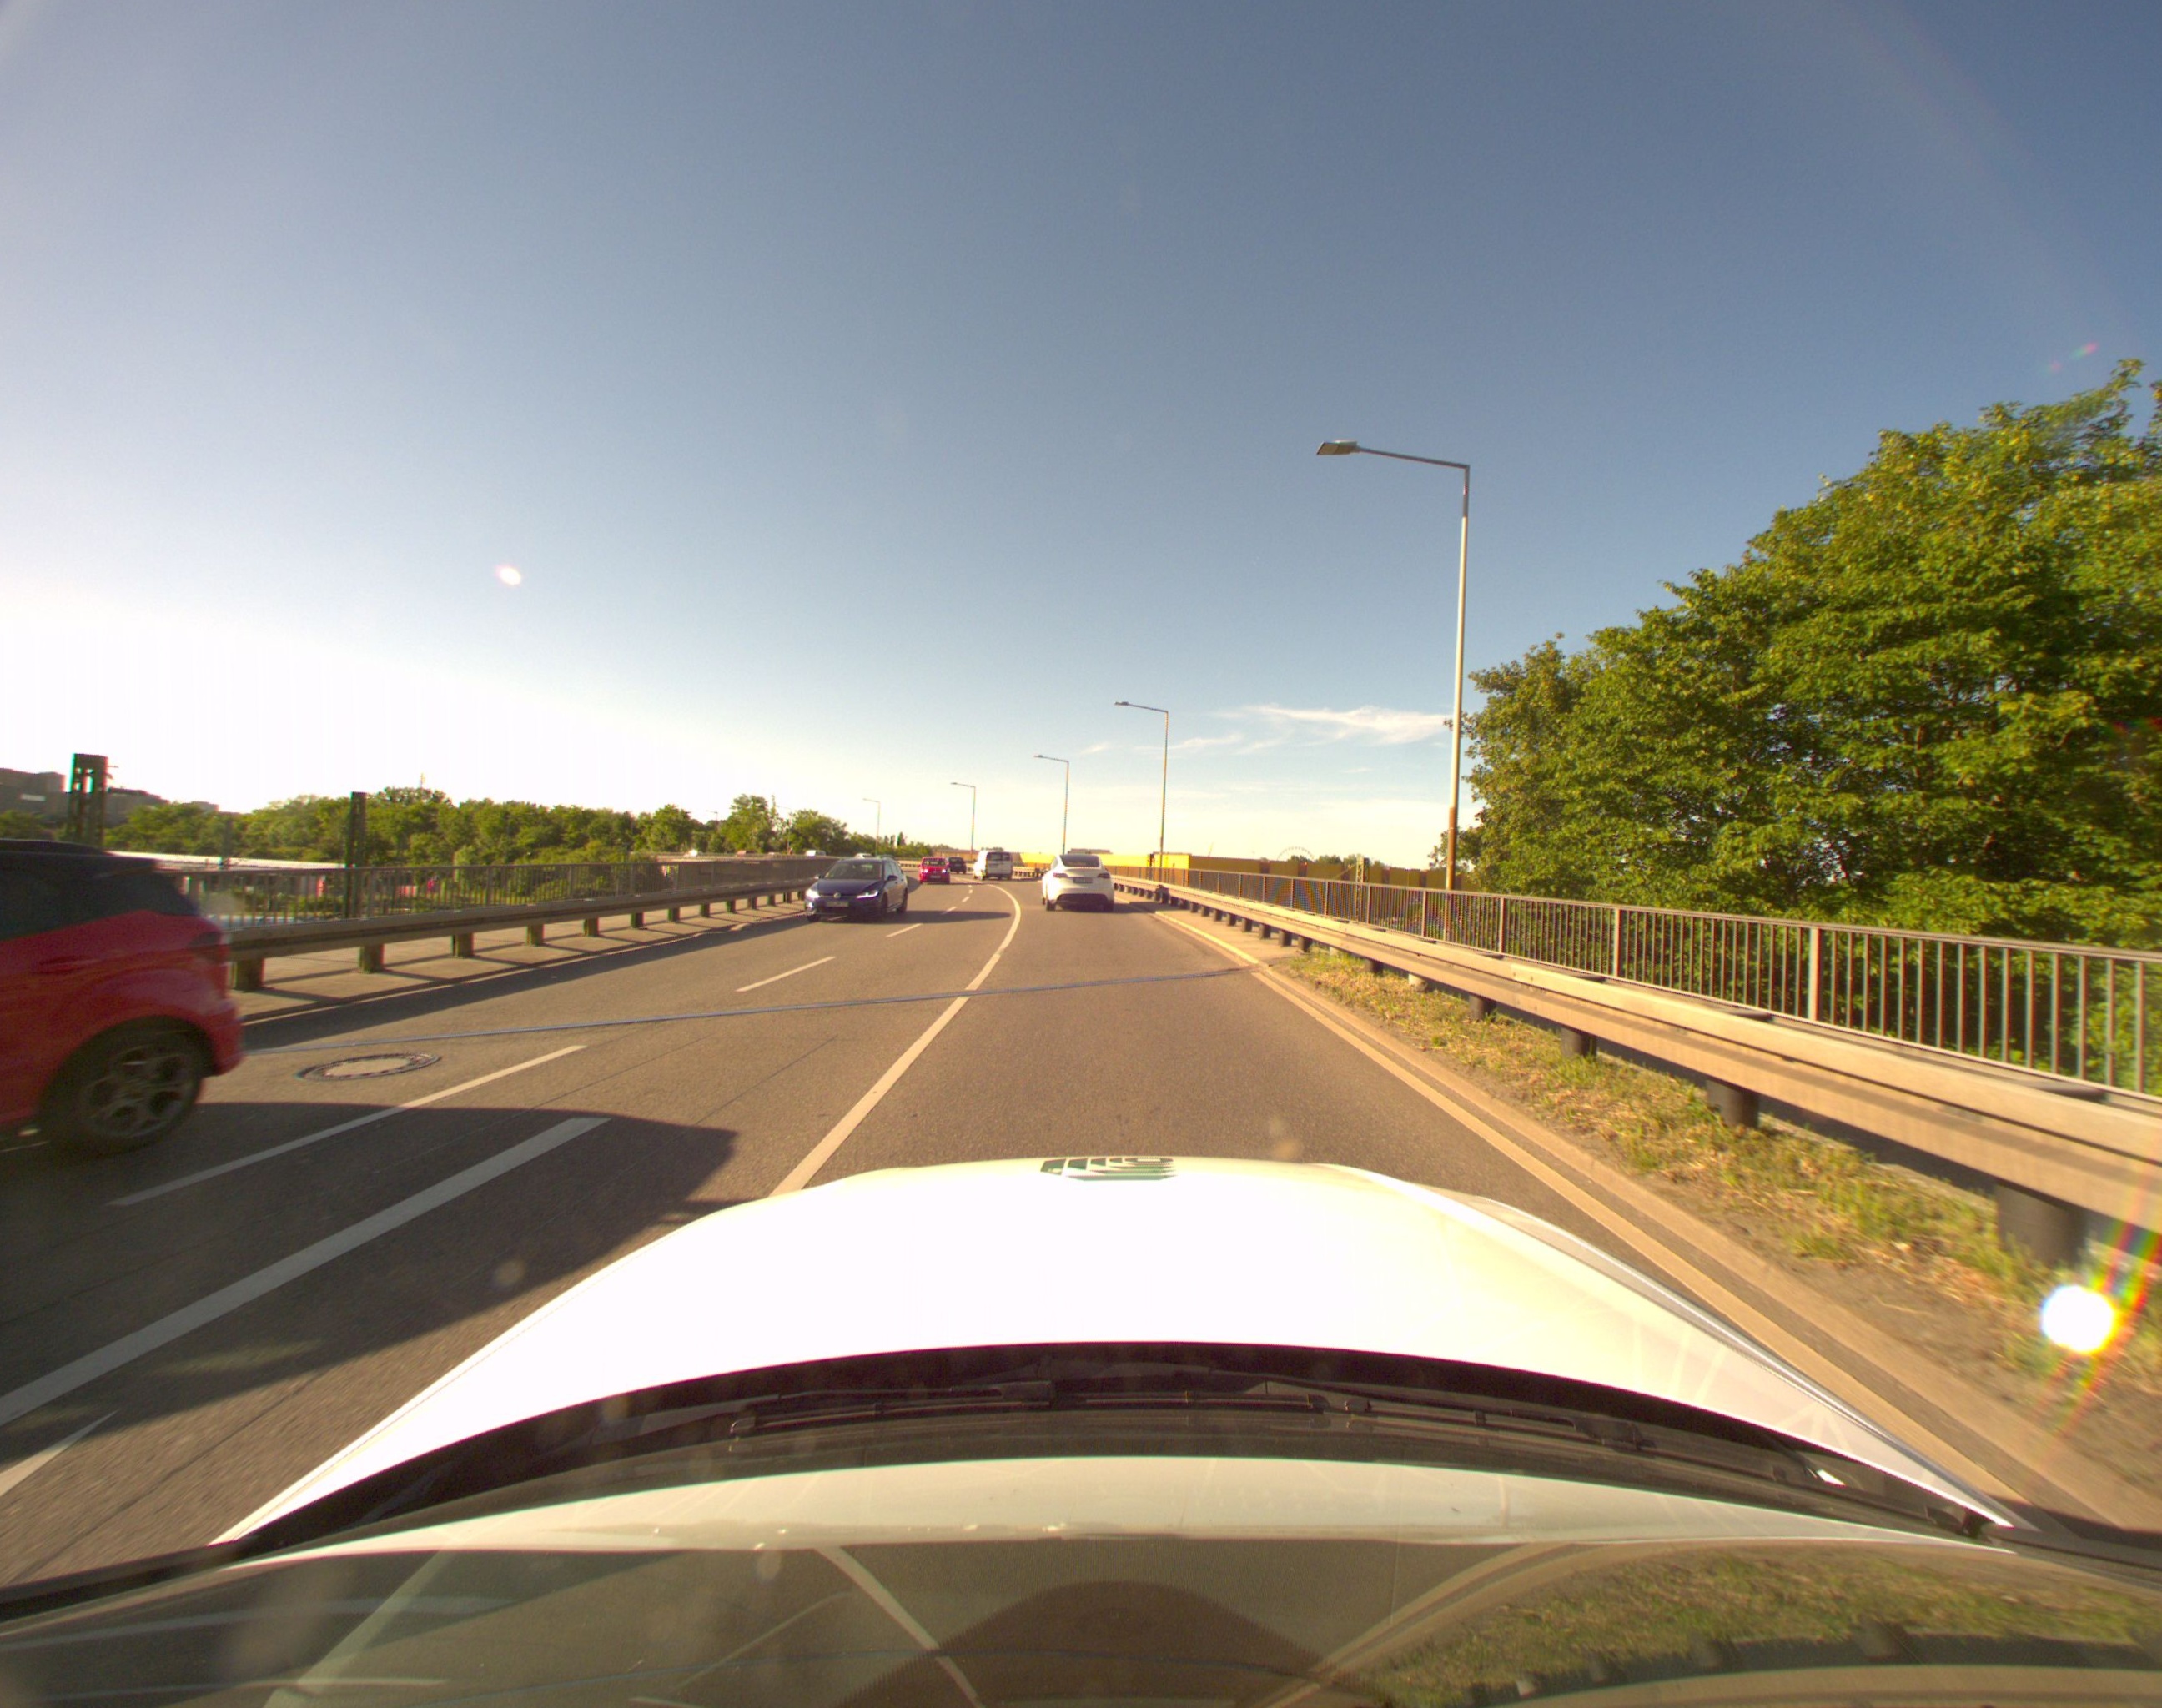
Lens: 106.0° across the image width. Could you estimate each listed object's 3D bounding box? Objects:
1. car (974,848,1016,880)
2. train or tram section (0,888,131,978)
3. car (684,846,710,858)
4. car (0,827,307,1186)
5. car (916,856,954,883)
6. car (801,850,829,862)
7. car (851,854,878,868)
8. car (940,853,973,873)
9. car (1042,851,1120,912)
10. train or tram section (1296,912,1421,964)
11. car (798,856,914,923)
[{"bbox_3d":[-5.502,0.632,51.822,2.008,1.940,4.445,1,0,-15],"label":"car"},{"bbox_3d":[-62.602,4.224,42.599,16.353,4.591,3.870,1,0,-28],"label":"train or tram section"},{"bbox_3d":[-64.057,-0.324,135.869,3.949,1.950,1.975,1,0,31],"label":"car"},{"bbox_3d":[-5.853,0.690,3.128,1.797,1.638,4.003,0,0,3],"label":"car"},{"bbox_3d":[-7.977,0.808,44.257,1.784,1.437,3.856,0,0,-14],"label":"car"},{"bbox_3d":[-35.756,0.221,109.539,3.843,1.555,1.853,1,0,40],"label":"car"},{"bbox_3d":[-25.461,0.847,95.733,1.872,1.585,3.874,1,0,-33],"label":"car"},{"bbox_3d":[-10.317,0.716,67.148,1.975,1.638,3.973,0,0,-20],"label":"car"},{"bbox_3d":[-0.094,0.752,24.148,1.982,1.638,4.055,0,0,-5],"label":"car"},{"bbox_3d":[32.941,9.712,96.067,16.923,5.261,3.306,1,0,-28],"label":"train or tram section"},{"bbox_3d":[-5.430,0.794,20.240,1.719,1.486,4.405,0,0,-1],"label":"car"}]
